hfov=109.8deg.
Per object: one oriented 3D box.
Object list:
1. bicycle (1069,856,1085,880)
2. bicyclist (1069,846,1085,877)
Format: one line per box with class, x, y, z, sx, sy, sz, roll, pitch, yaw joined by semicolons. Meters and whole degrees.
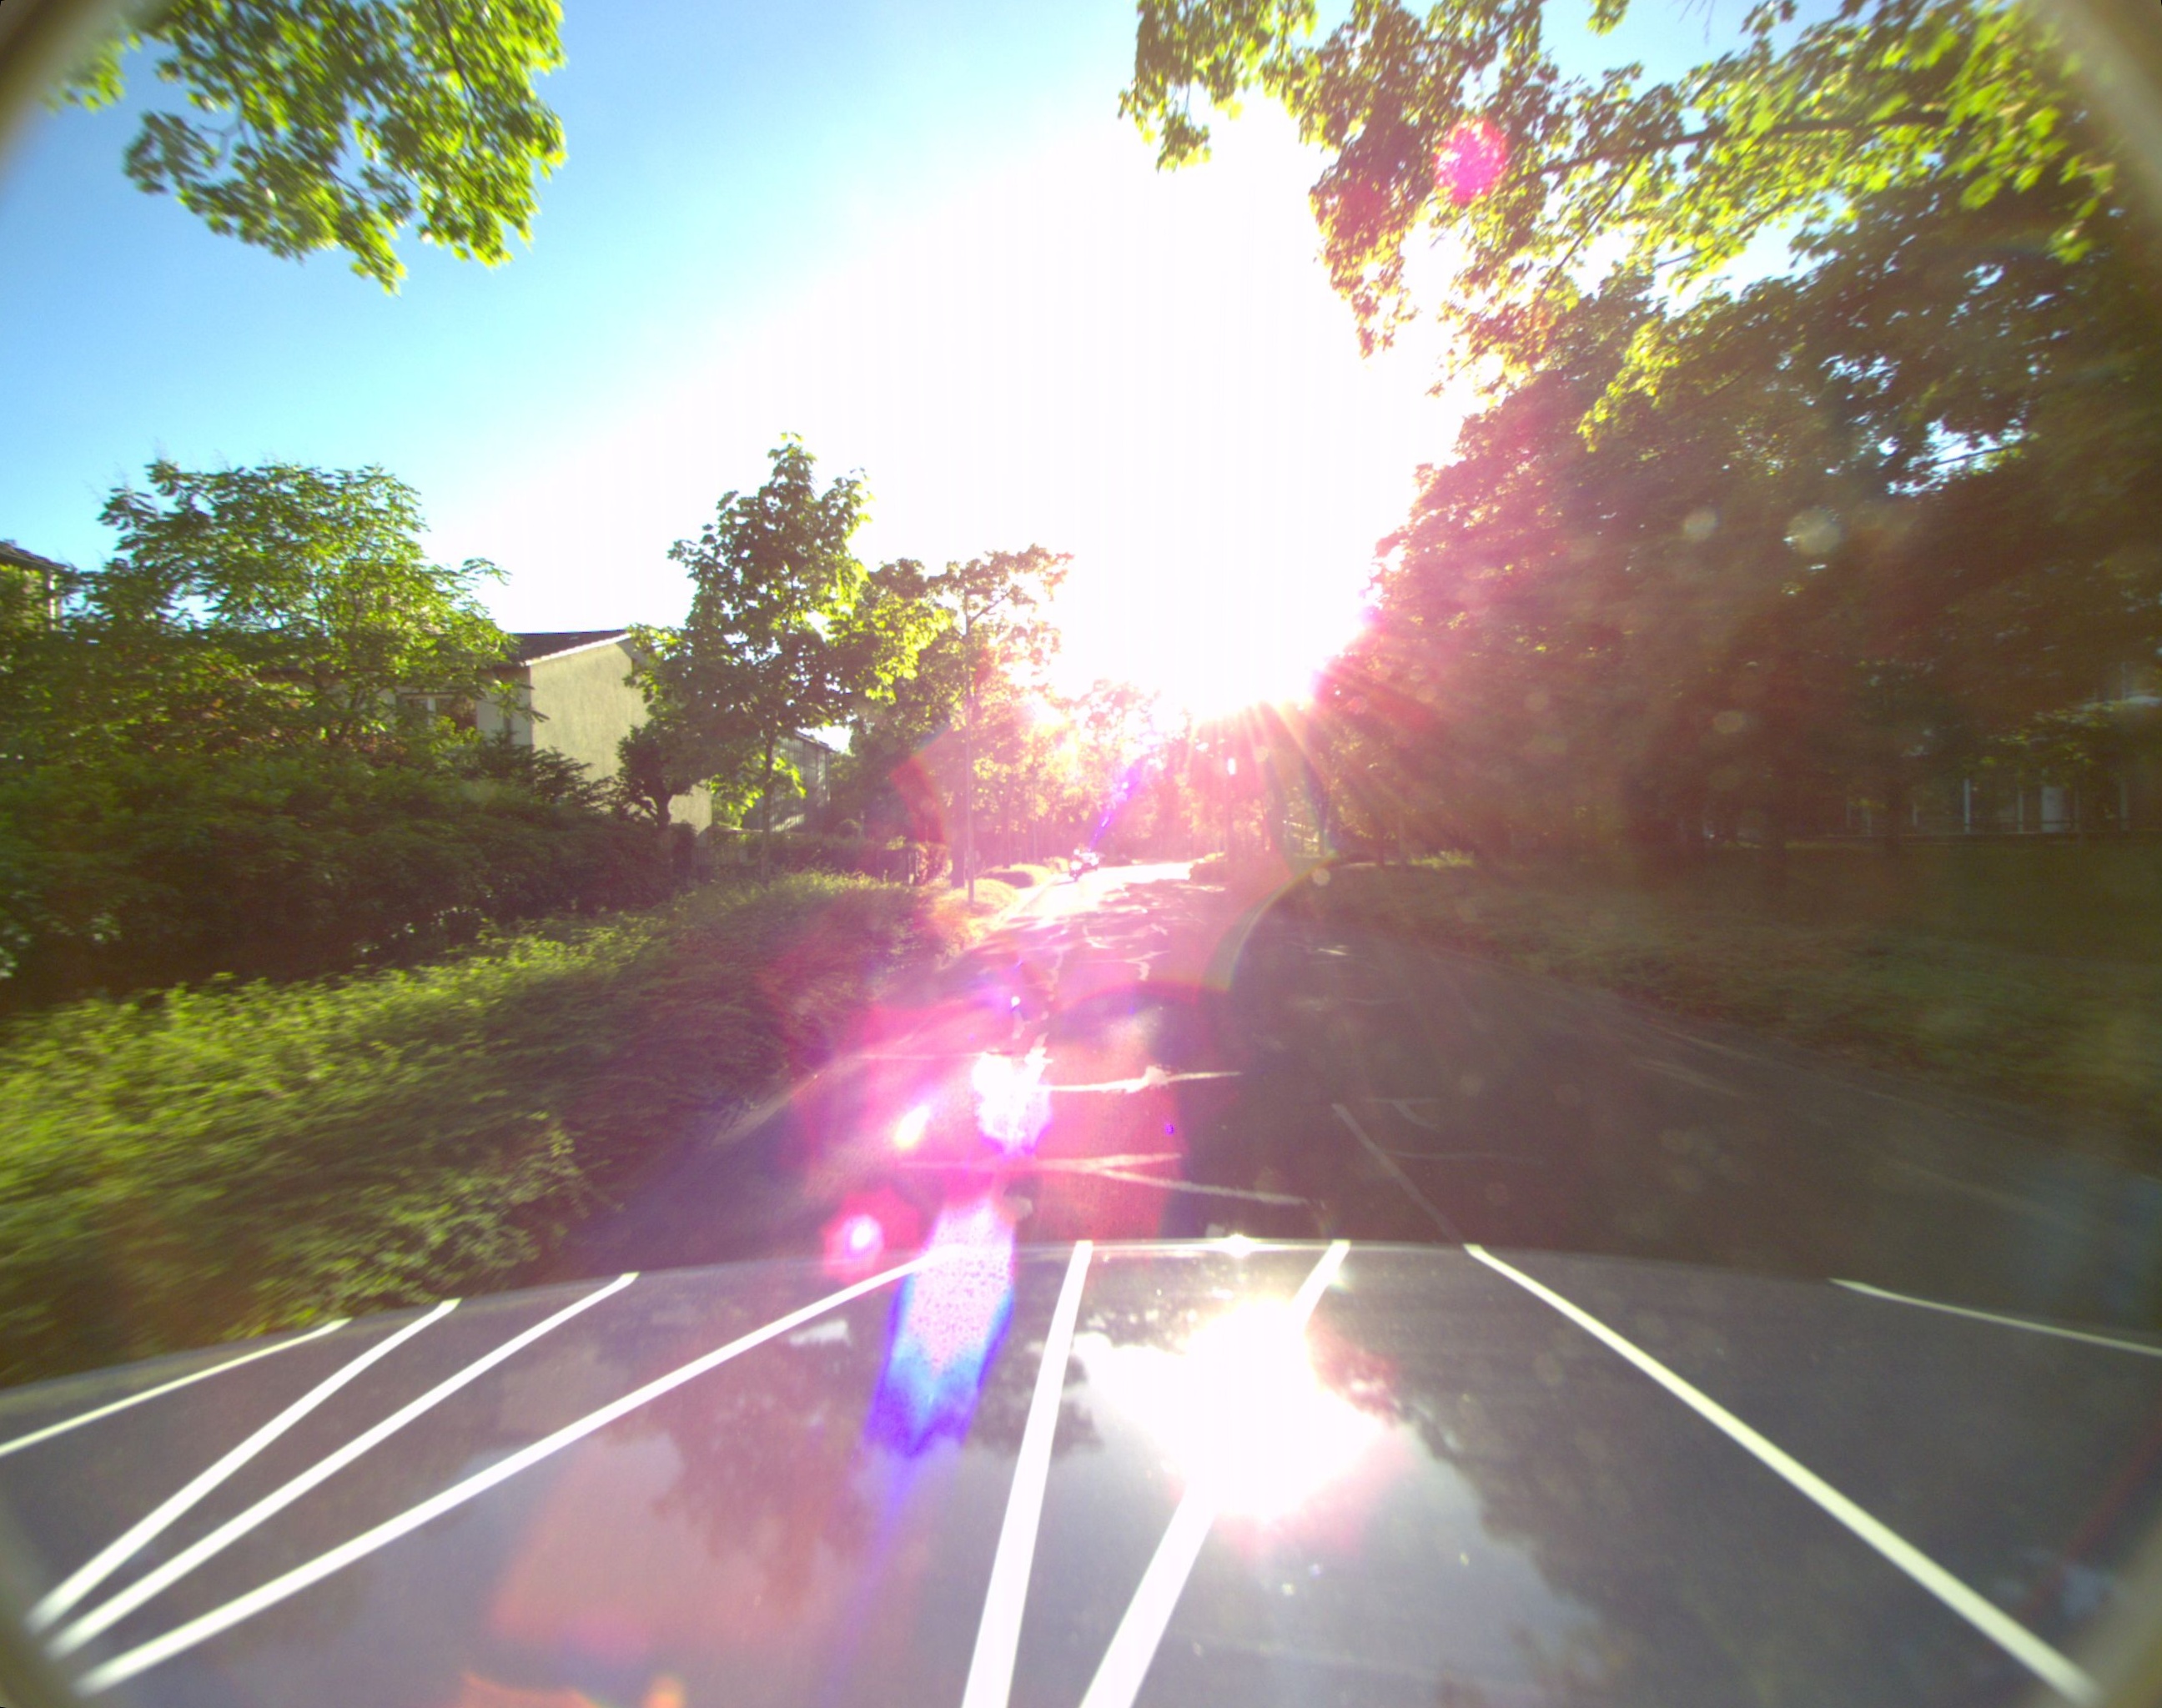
bicycle;-0.213;0.757;41.915;0.829;1.182;2.302;-3;1;-1
bicyclist;-0.223;0.402;41.852;0.819;1.635;0.744;-3;1;0
